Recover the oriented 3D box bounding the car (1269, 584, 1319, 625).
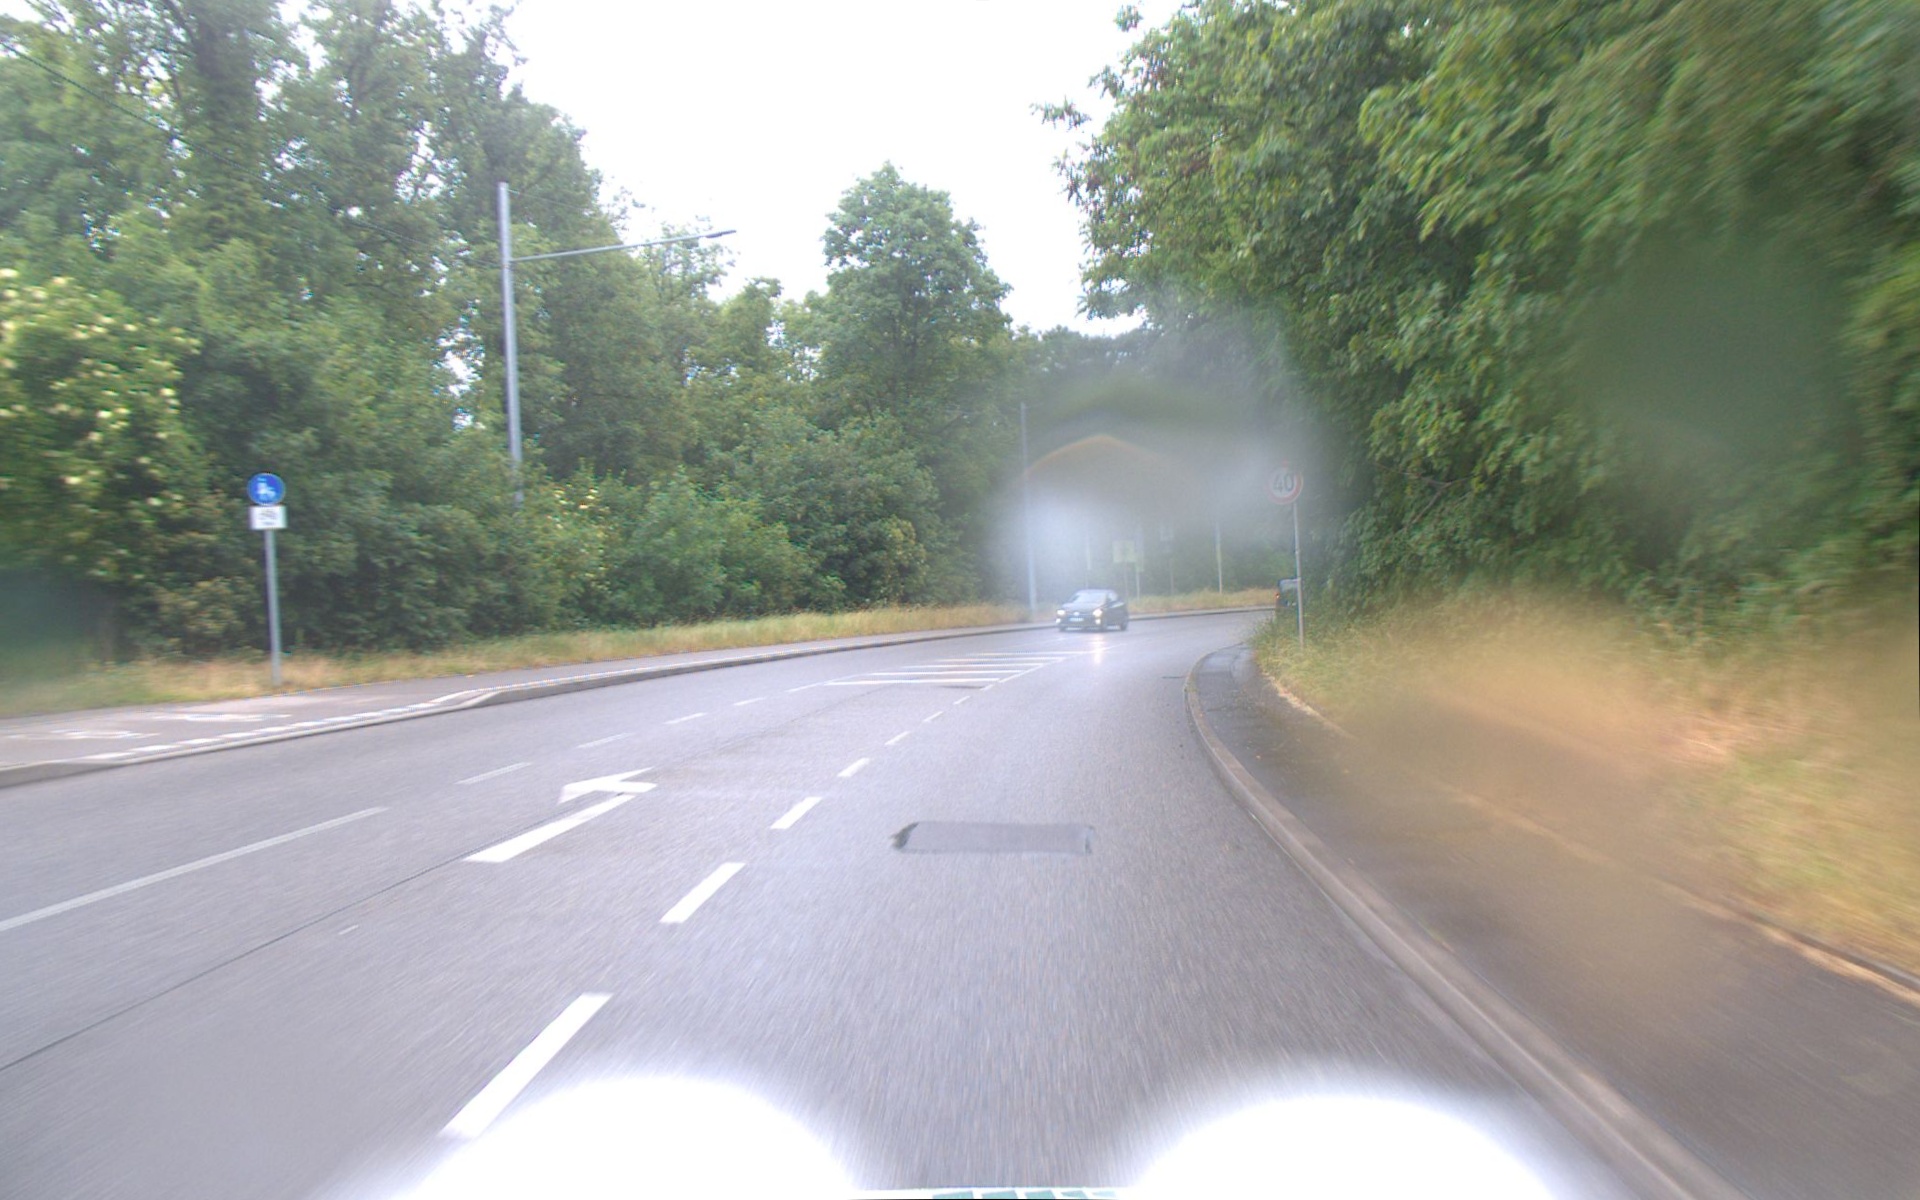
[{"bbox_3d":[13.515,0.176,67.017,1.632,1.621,3.685,1,0,6],"label":"car"}]

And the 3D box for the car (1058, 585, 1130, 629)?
[{"bbox_3d":[4.787,0.229,58.714,1.561,1.503,3.793,1,0,20],"label":"car"}]
